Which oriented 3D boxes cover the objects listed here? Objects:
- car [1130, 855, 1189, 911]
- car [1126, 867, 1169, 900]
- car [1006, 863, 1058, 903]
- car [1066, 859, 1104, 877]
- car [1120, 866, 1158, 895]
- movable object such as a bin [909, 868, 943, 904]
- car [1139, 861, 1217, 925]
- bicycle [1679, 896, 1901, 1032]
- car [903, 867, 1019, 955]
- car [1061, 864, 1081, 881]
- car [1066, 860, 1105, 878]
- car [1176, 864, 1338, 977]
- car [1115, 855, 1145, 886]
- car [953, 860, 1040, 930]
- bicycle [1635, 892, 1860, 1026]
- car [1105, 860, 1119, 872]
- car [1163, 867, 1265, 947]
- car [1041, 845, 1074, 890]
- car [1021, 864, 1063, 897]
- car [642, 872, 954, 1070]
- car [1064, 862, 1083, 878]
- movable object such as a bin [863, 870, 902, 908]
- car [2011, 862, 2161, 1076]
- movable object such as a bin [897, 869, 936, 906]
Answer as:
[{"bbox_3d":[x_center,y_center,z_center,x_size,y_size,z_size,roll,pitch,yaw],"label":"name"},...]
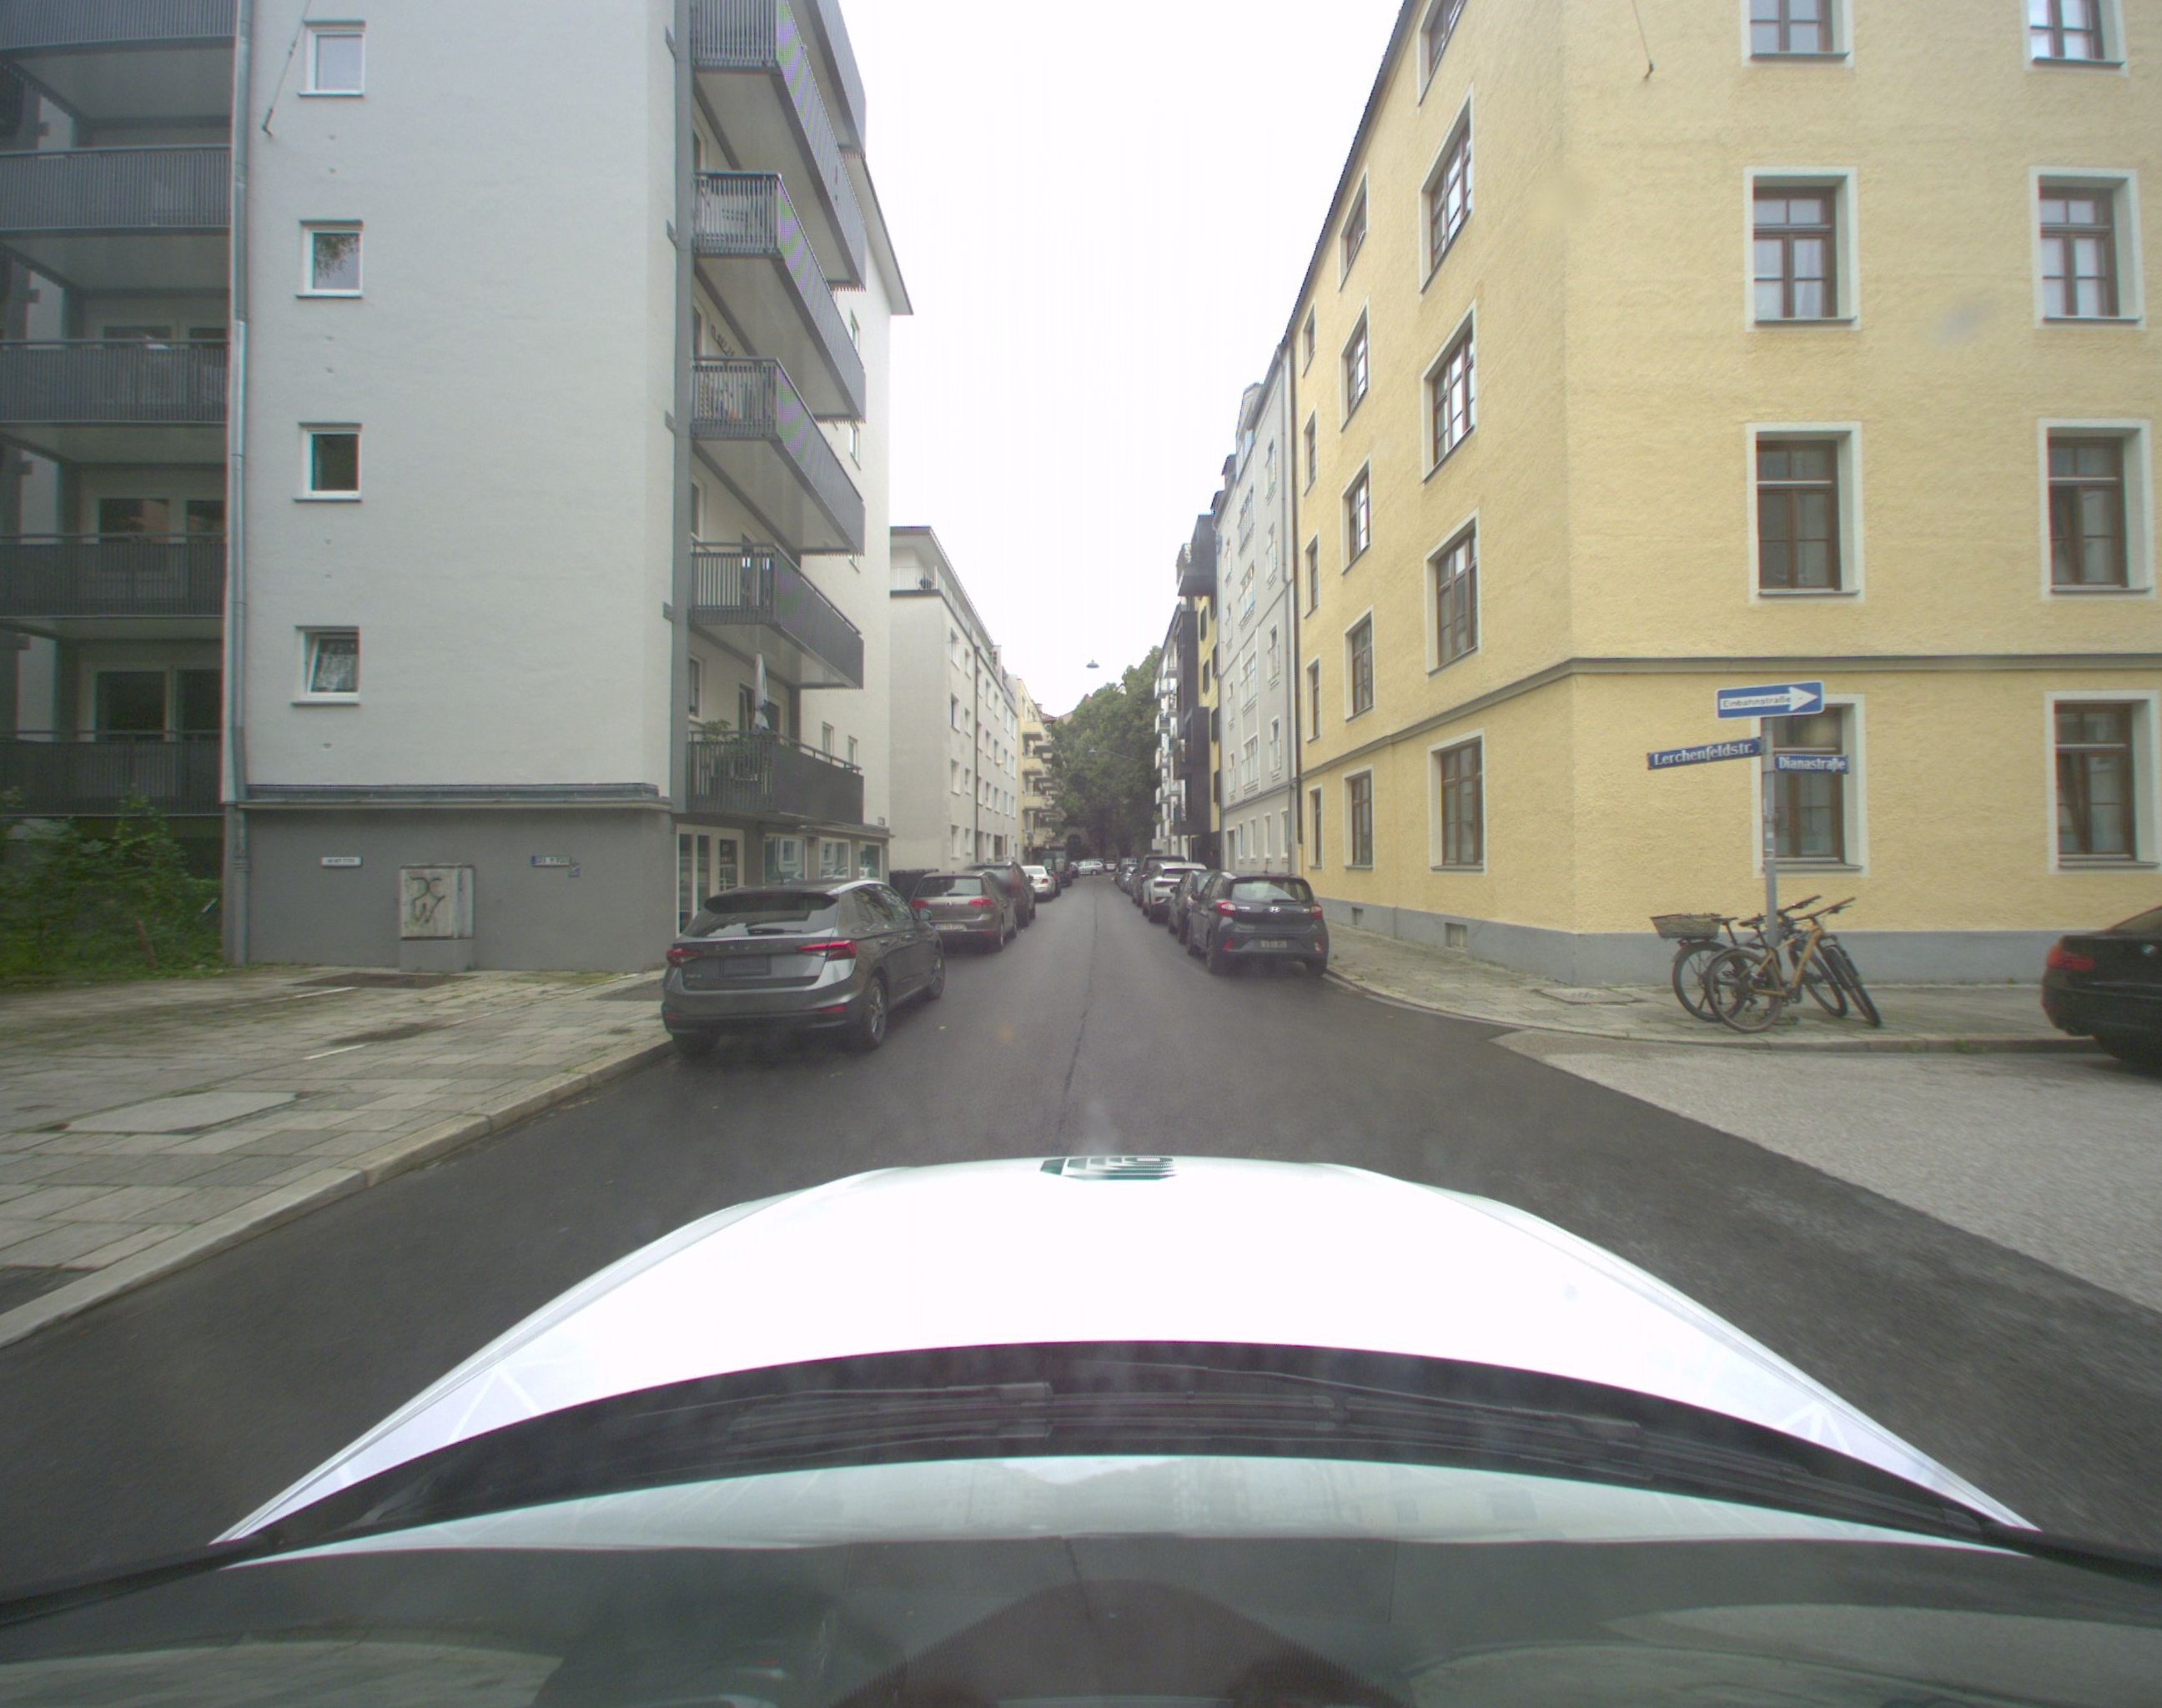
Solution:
[{"bbox_3d":[2.904,1.040,30.915,1.823,1.910,4.416,1,0,1],"label":"car"},{"bbox_3d":[3.331,1.459,41.543,1.823,1.454,4.415,3,-1,0],"label":"car"},{"bbox_3d":[-2.009,1.188,34.859,1.770,1.487,4.520,-3,-1,1],"label":"car"},{"bbox_3d":[0.453,1.470,85.197,3.874,1.585,1.647,-3,-1,-1],"label":"car"},{"bbox_3d":[3.301,1.486,46.947,1.823,1.454,4.415,3,-1,0],"label":"car"},{"bbox_3d":[-6.105,1.264,32.180,1.043,1.337,0.994,-3,-1,3],"label":"movable object such as a bin"},{"bbox_3d":[2.669,1.030,23.276,1.676,1.567,4.415,2,0,0],"label":"car"},{"bbox_3d":[6.436,0.986,7.418,1.708,1.139,0.374,-2,1,-1],"label":"bicycle"},{"bbox_3d":[-2.203,1.014,15.971,1.688,1.442,3.976,-1,-1,-1],"label":"car"},{"bbox_3d":[-0.899,1.631,73.316,1.637,1.383,3.482,-3,-1,0],"label":"car"},{"bbox_3d":[0.500,1.500,83.224,3.874,1.585,1.647,-3,-1,-1],"label":"car"},{"bbox_3d":[2.695,0.953,13.463,1.745,1.469,4.342,2,0,0],"label":"car"},{"bbox_3d":[3.426,1.135,57.439,1.823,1.999,4.415,3,-1,0],"label":"car"},{"bbox_3d":[-2.136,0.999,21.665,1.771,1.629,4.414,-1,-1,0],"label":"car"},{"bbox_3d":[6.463,1.003,7.937,1.803,1.174,0.505,-2,1,-2],"label":"bicycle"},{"bbox_3d":[3.812,1.470,100.310,1.637,1.383,3.745,-3,-1,0],"label":"car"},{"bbox_3d":[2.765,1.056,17.715,1.657,1.469,3.820,2,0,2],"label":"car"},{"bbox_3d":[-1.524,0.892,54.559,1.930,2.802,4.532,-3,-1,0],"label":"car"},{"bbox_3d":[-1.844,1.268,39.922,1.771,1.453,4.046,-3,-1,0],"label":"car"},{"bbox_3d":[-2.506,0.951,8.301,1.687,1.442,3.943,-2,-1,1],"label":"car"},{"bbox_3d":[-0.674,1.539,77.121,1.637,1.383,3.482,-3,-1,0],"label":"car"},{"bbox_3d":[-7.524,1.319,30.879,1.153,1.337,0.994,-3,-1,3],"label":"movable object such as a bin"},{"bbox_3d":[9.649,0.795,5.790,4.200,1.494,1.710,0,-2,-2],"label":"car"},{"bbox_3d":[-6.274,1.259,31.104,1.161,1.337,1.026,-3,-1,3],"label":"movable object such as a bin"}]
